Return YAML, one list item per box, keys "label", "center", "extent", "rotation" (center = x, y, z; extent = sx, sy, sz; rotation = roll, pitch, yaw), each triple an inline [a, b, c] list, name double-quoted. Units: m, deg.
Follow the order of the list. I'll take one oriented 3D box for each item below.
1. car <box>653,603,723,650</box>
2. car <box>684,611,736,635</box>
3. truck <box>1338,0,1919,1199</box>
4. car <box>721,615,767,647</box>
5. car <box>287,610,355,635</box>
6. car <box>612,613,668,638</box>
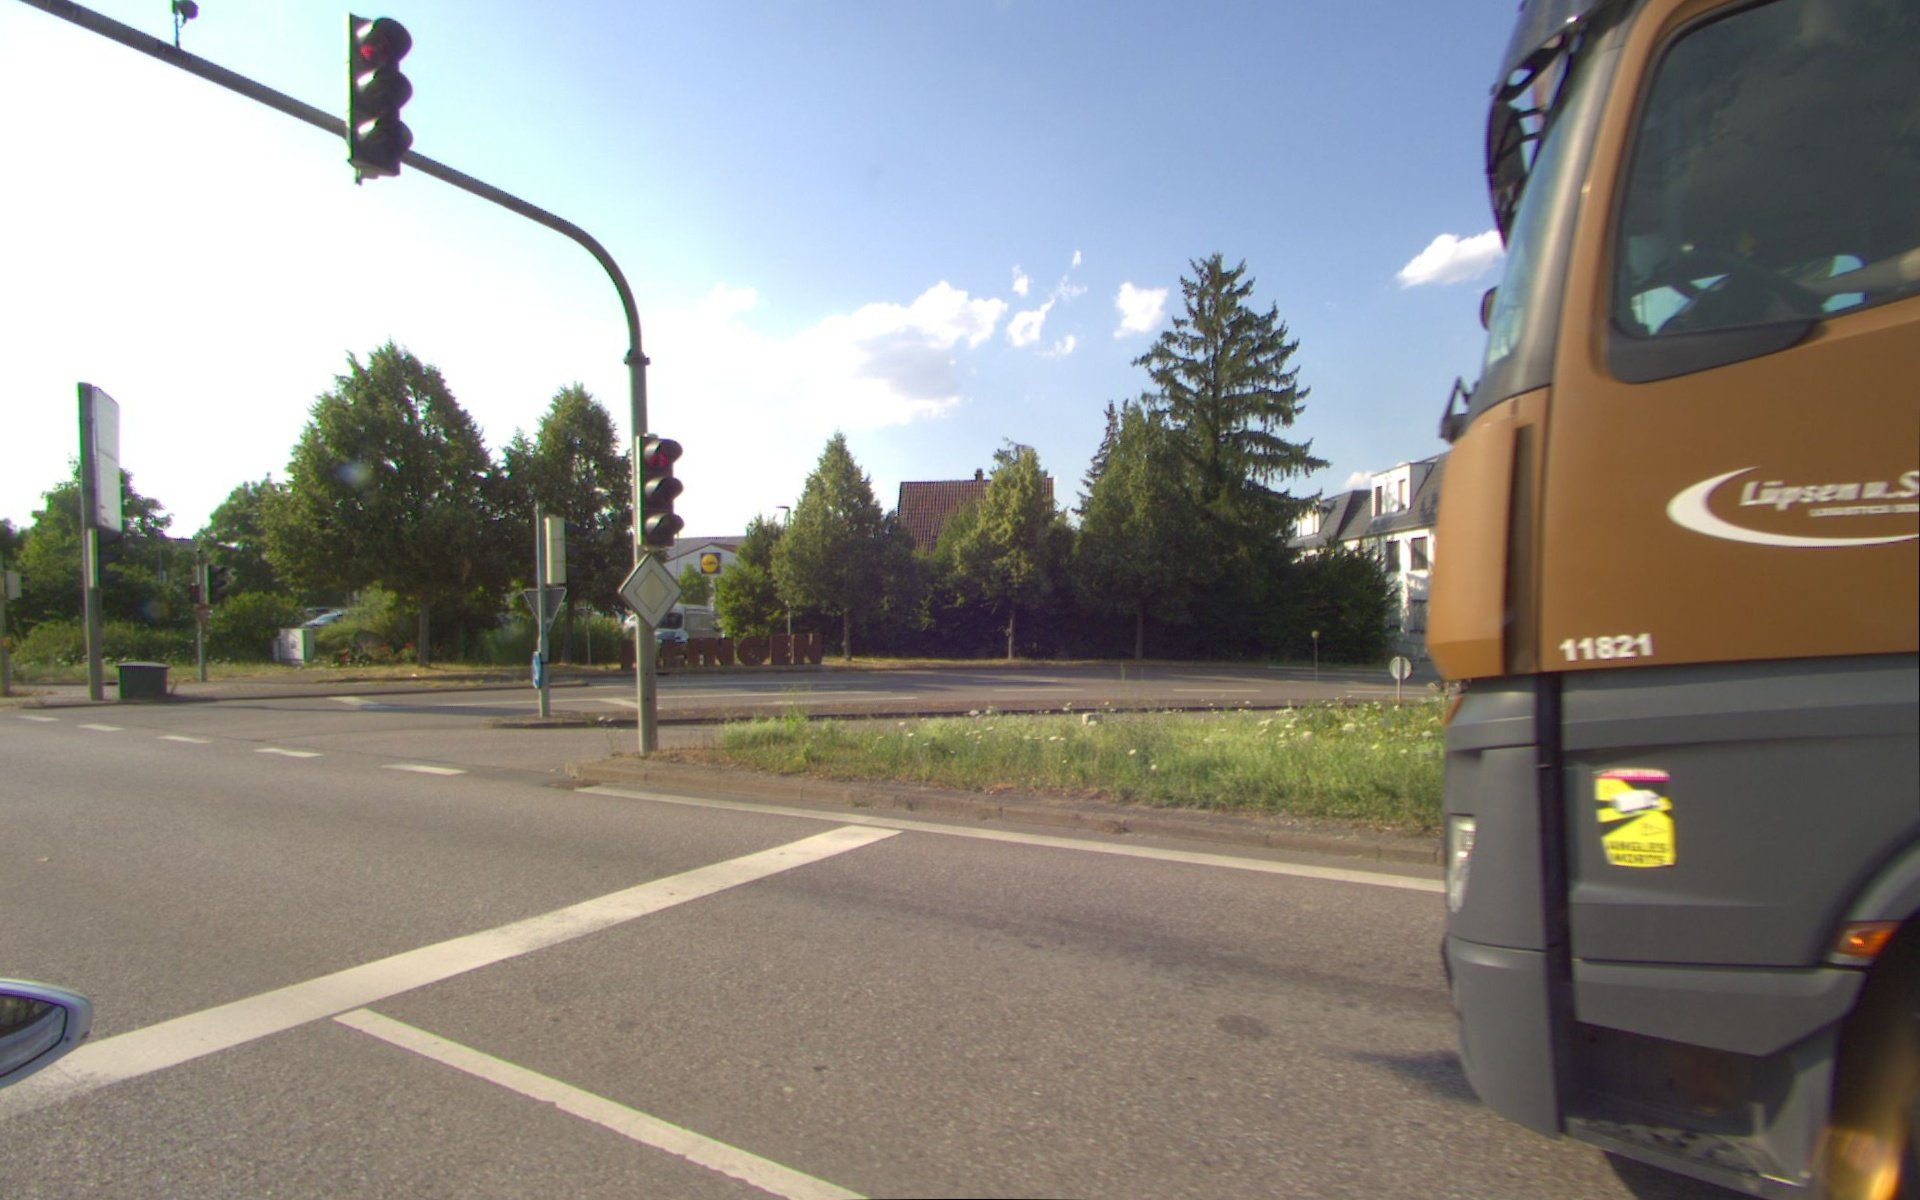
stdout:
- label: "car"
  center: [-15.368, 1.534, 56.861]
  extent: [1.961, 2.538, 5.141]
  rotation: [-1, -2, 8]
- label: "car"
  center: [-16.996, 1.562, 68.153]
  extent: [3.190, 1.570, 1.566]
  rotation: [0, -2, -2]
- label: "truck"
  center: [4.382, -0.594, 1.770]
  extent: [6.570, 4.095, 2.527]
  rotation: [-2, -2, 33]
- label: "car"
  center: [-13.806, 1.992, 64.126]
  extent: [1.425, 1.978, 4.000]
  rotation: [-1, -2, 11]
- label: "car"
  center: [-54.659, 1.947, 85.771]
  extent: [1.962, 2.039, 4.933]
  rotation: [-1, -3, 11]
- label: "car"
  center: [-20.308, 1.616, 63.543]
  extent: [3.071, 1.528, 1.579]
  rotation: [-1, -2, 16]
